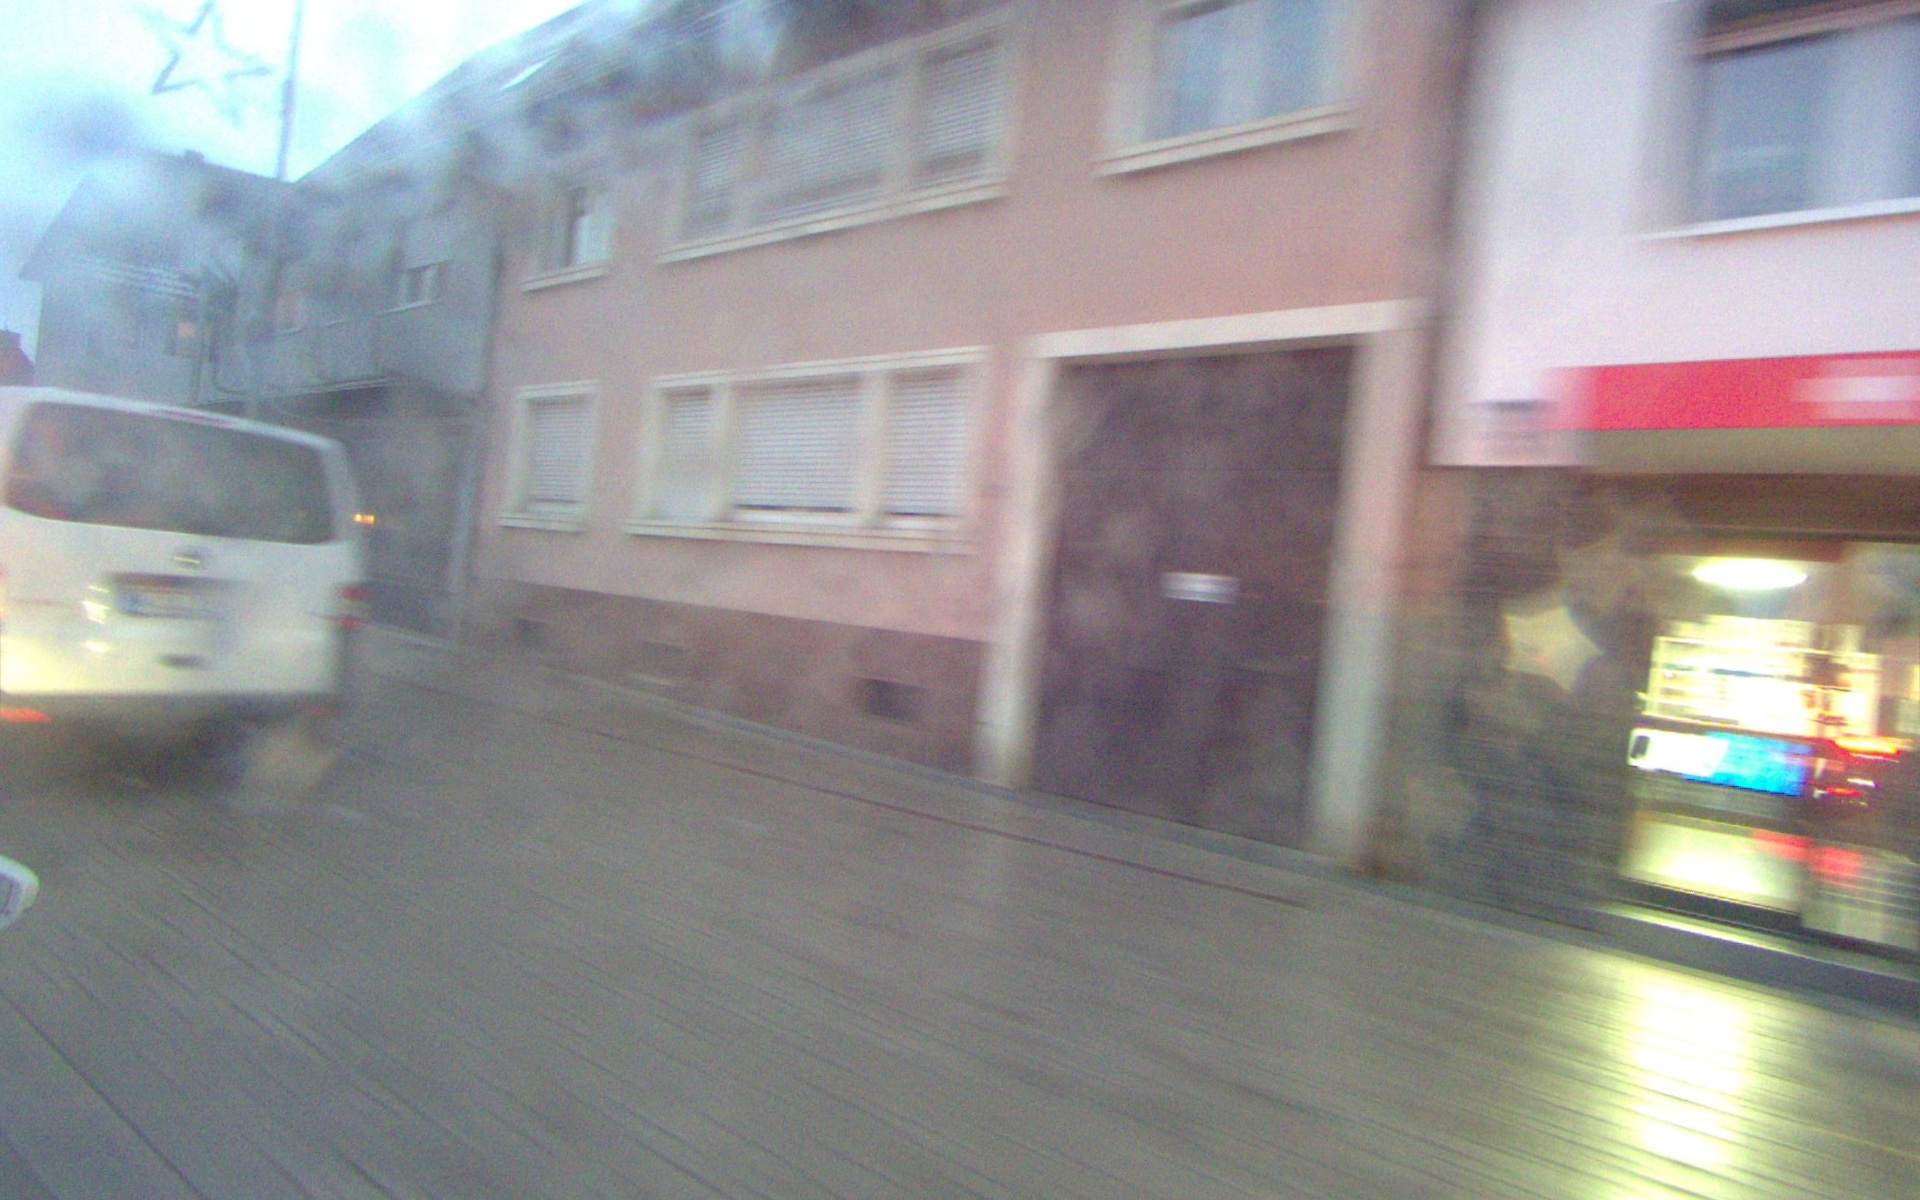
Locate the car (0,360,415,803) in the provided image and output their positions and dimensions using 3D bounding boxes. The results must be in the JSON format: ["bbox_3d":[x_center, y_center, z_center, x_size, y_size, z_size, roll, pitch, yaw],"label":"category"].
[{"bbox_3d":[-5.680,-0.234,6.585,4.781,1.984,1.971,7,1,40],"label":"car"}]
